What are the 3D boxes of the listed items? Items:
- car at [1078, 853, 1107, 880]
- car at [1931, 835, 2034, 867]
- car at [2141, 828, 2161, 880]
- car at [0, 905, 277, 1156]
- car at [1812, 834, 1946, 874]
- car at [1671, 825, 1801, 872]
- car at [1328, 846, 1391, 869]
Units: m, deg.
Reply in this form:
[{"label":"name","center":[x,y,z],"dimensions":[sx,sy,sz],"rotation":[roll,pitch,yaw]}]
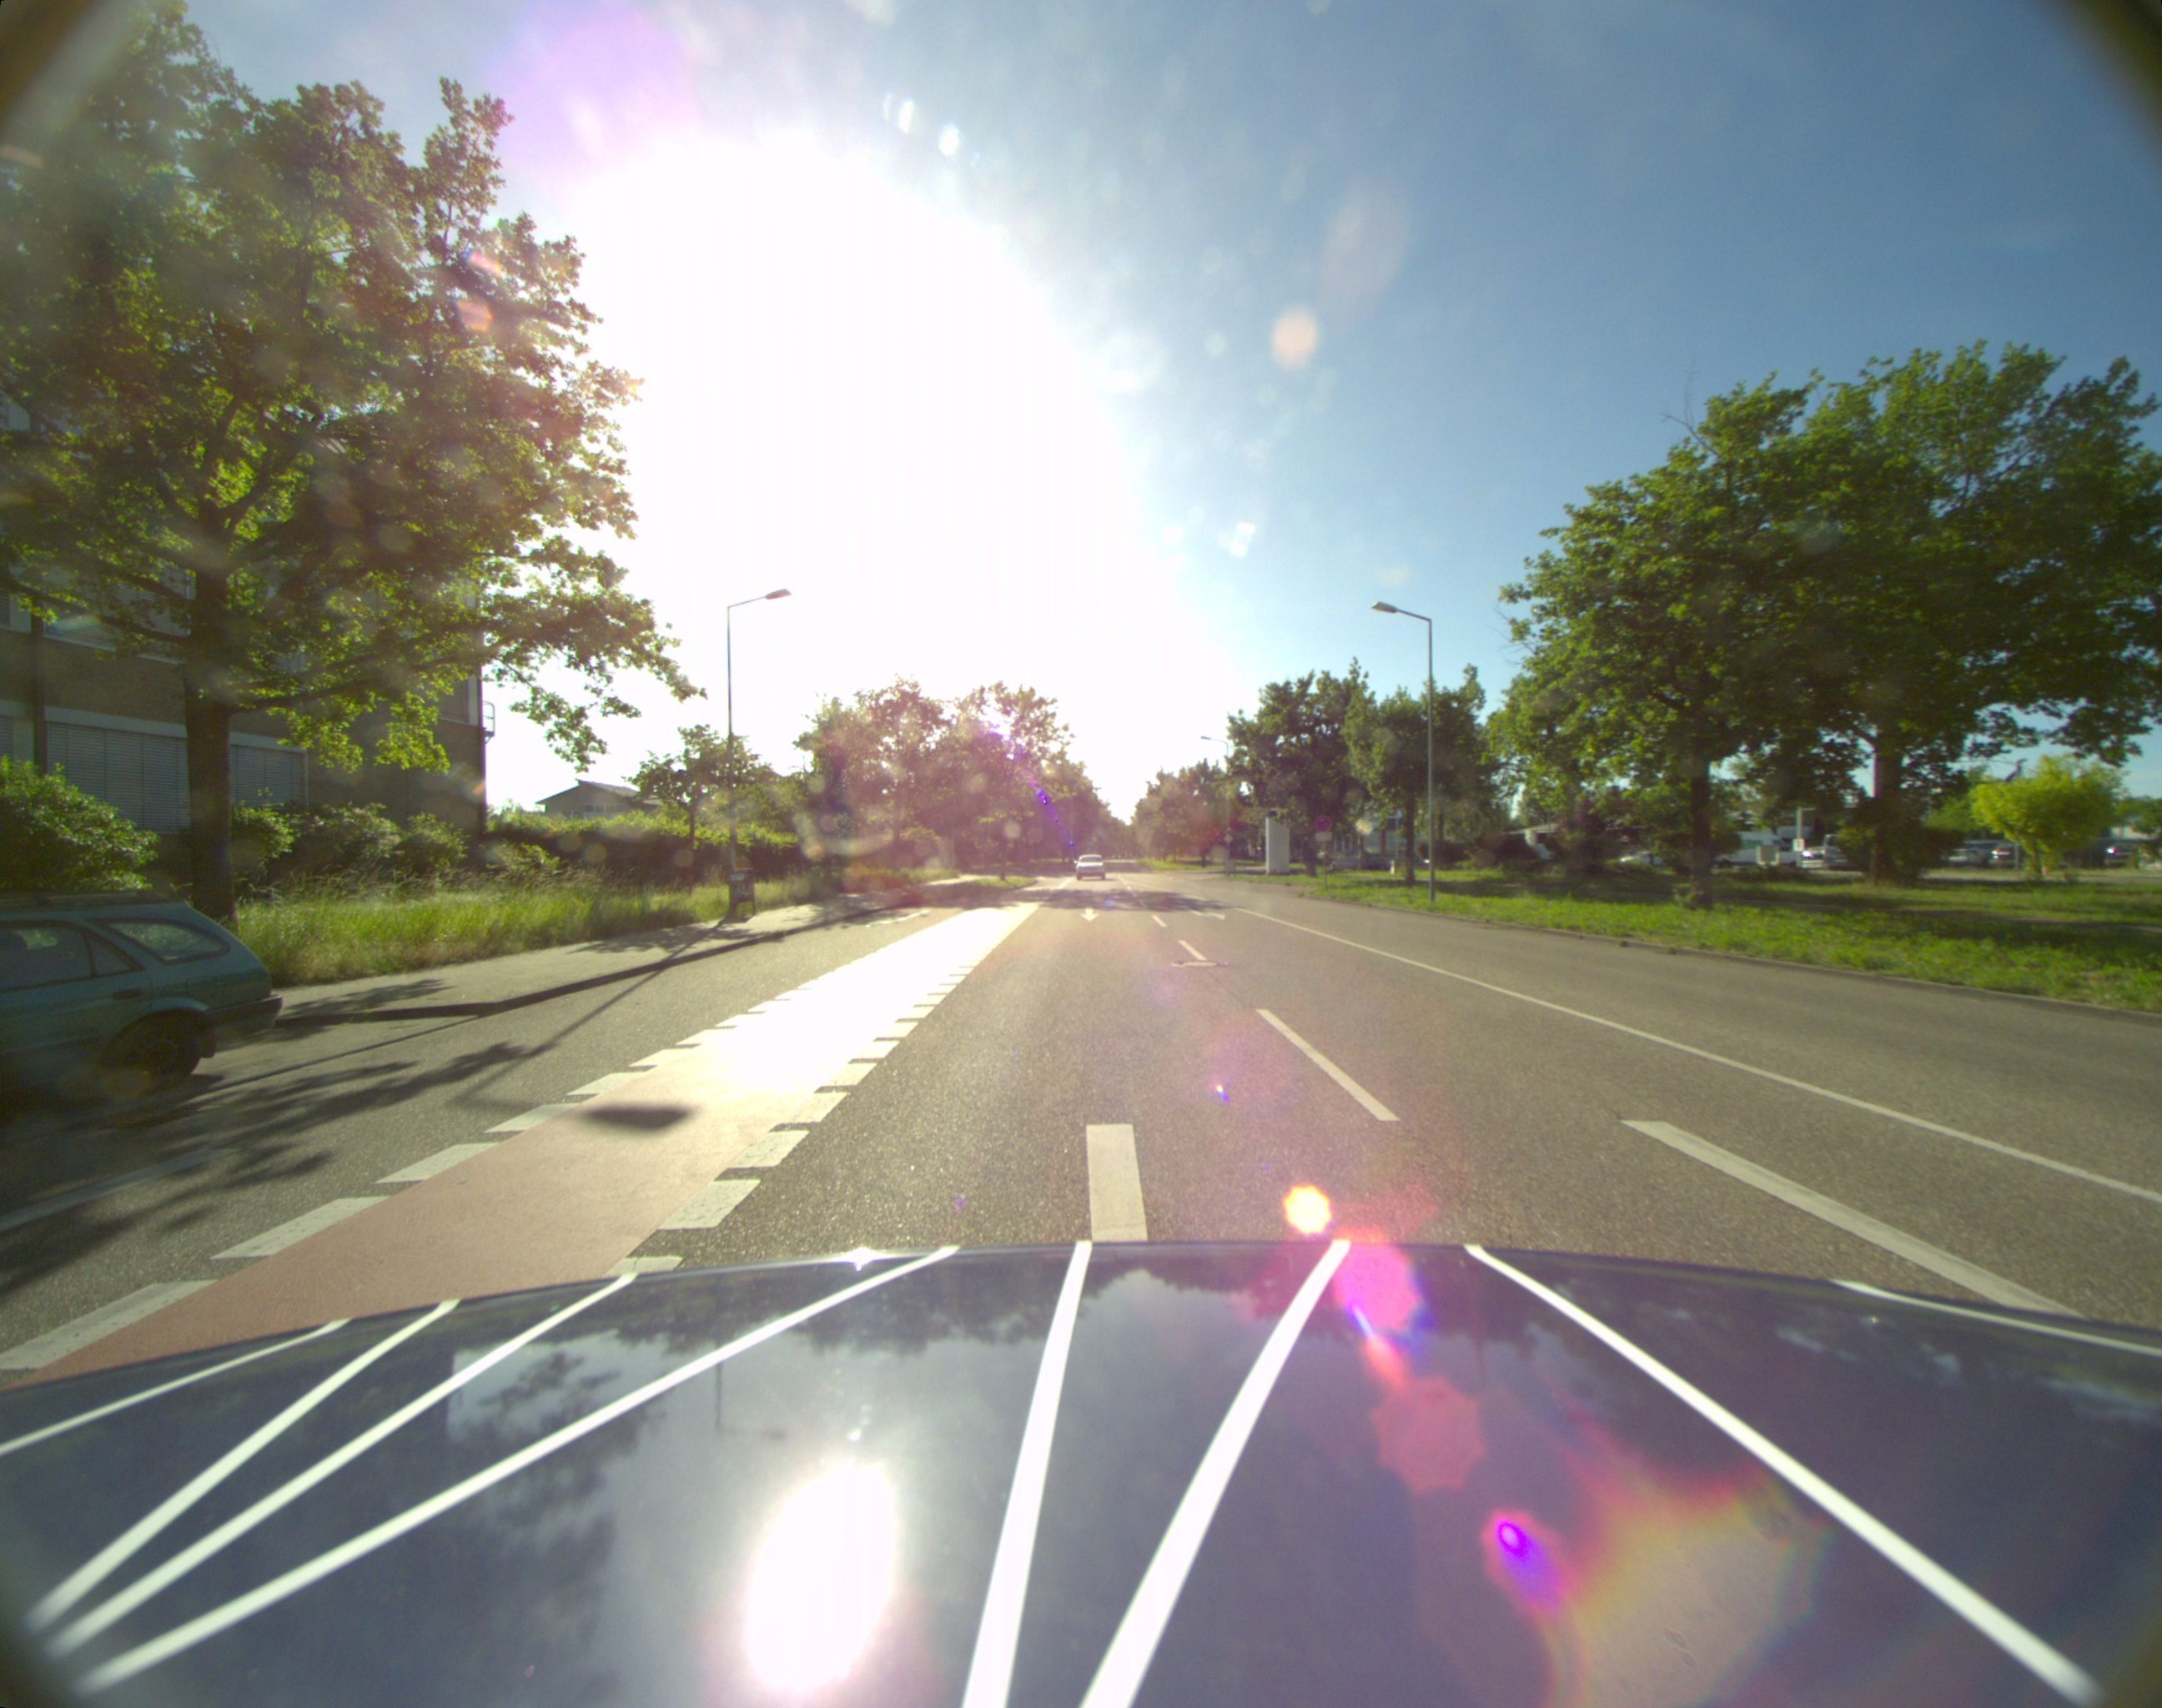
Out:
[{"label":"car","center":[0.765,0.734,47.929],"dimensions":[1.721,1.598,4.068],"rotation":[-2,0,2]},{"label":"car","center":[52.089,-0.201,43.953],"dimensions":[3.860,1.661,1.762],"rotation":[-2,1,0]},{"label":"car","center":[33.888,-0.082,22.034],"dimensions":[3.817,1.562,1.736],"rotation":[-2,-1,0]},{"label":"car","center":[-7.527,1.131,4.216],"dimensions":[1.706,1.460,4.141],"rotation":[-1,-1,0]},{"label":"car","center":[40.061,-0.001,38.214],"dimensions":[4.642,1.771,1.990],"rotation":[-2,1,0]},{"label":"car","center":[39.901,-0.334,46.391],"dimensions":[6.023,2.540,2.409],"rotation":[-2,1,-4]},{"label":"car","center":[23.931,0.299,65.365],"dimensions":[4.637,1.822,2.000],"rotation":[-2,1,0]}]
